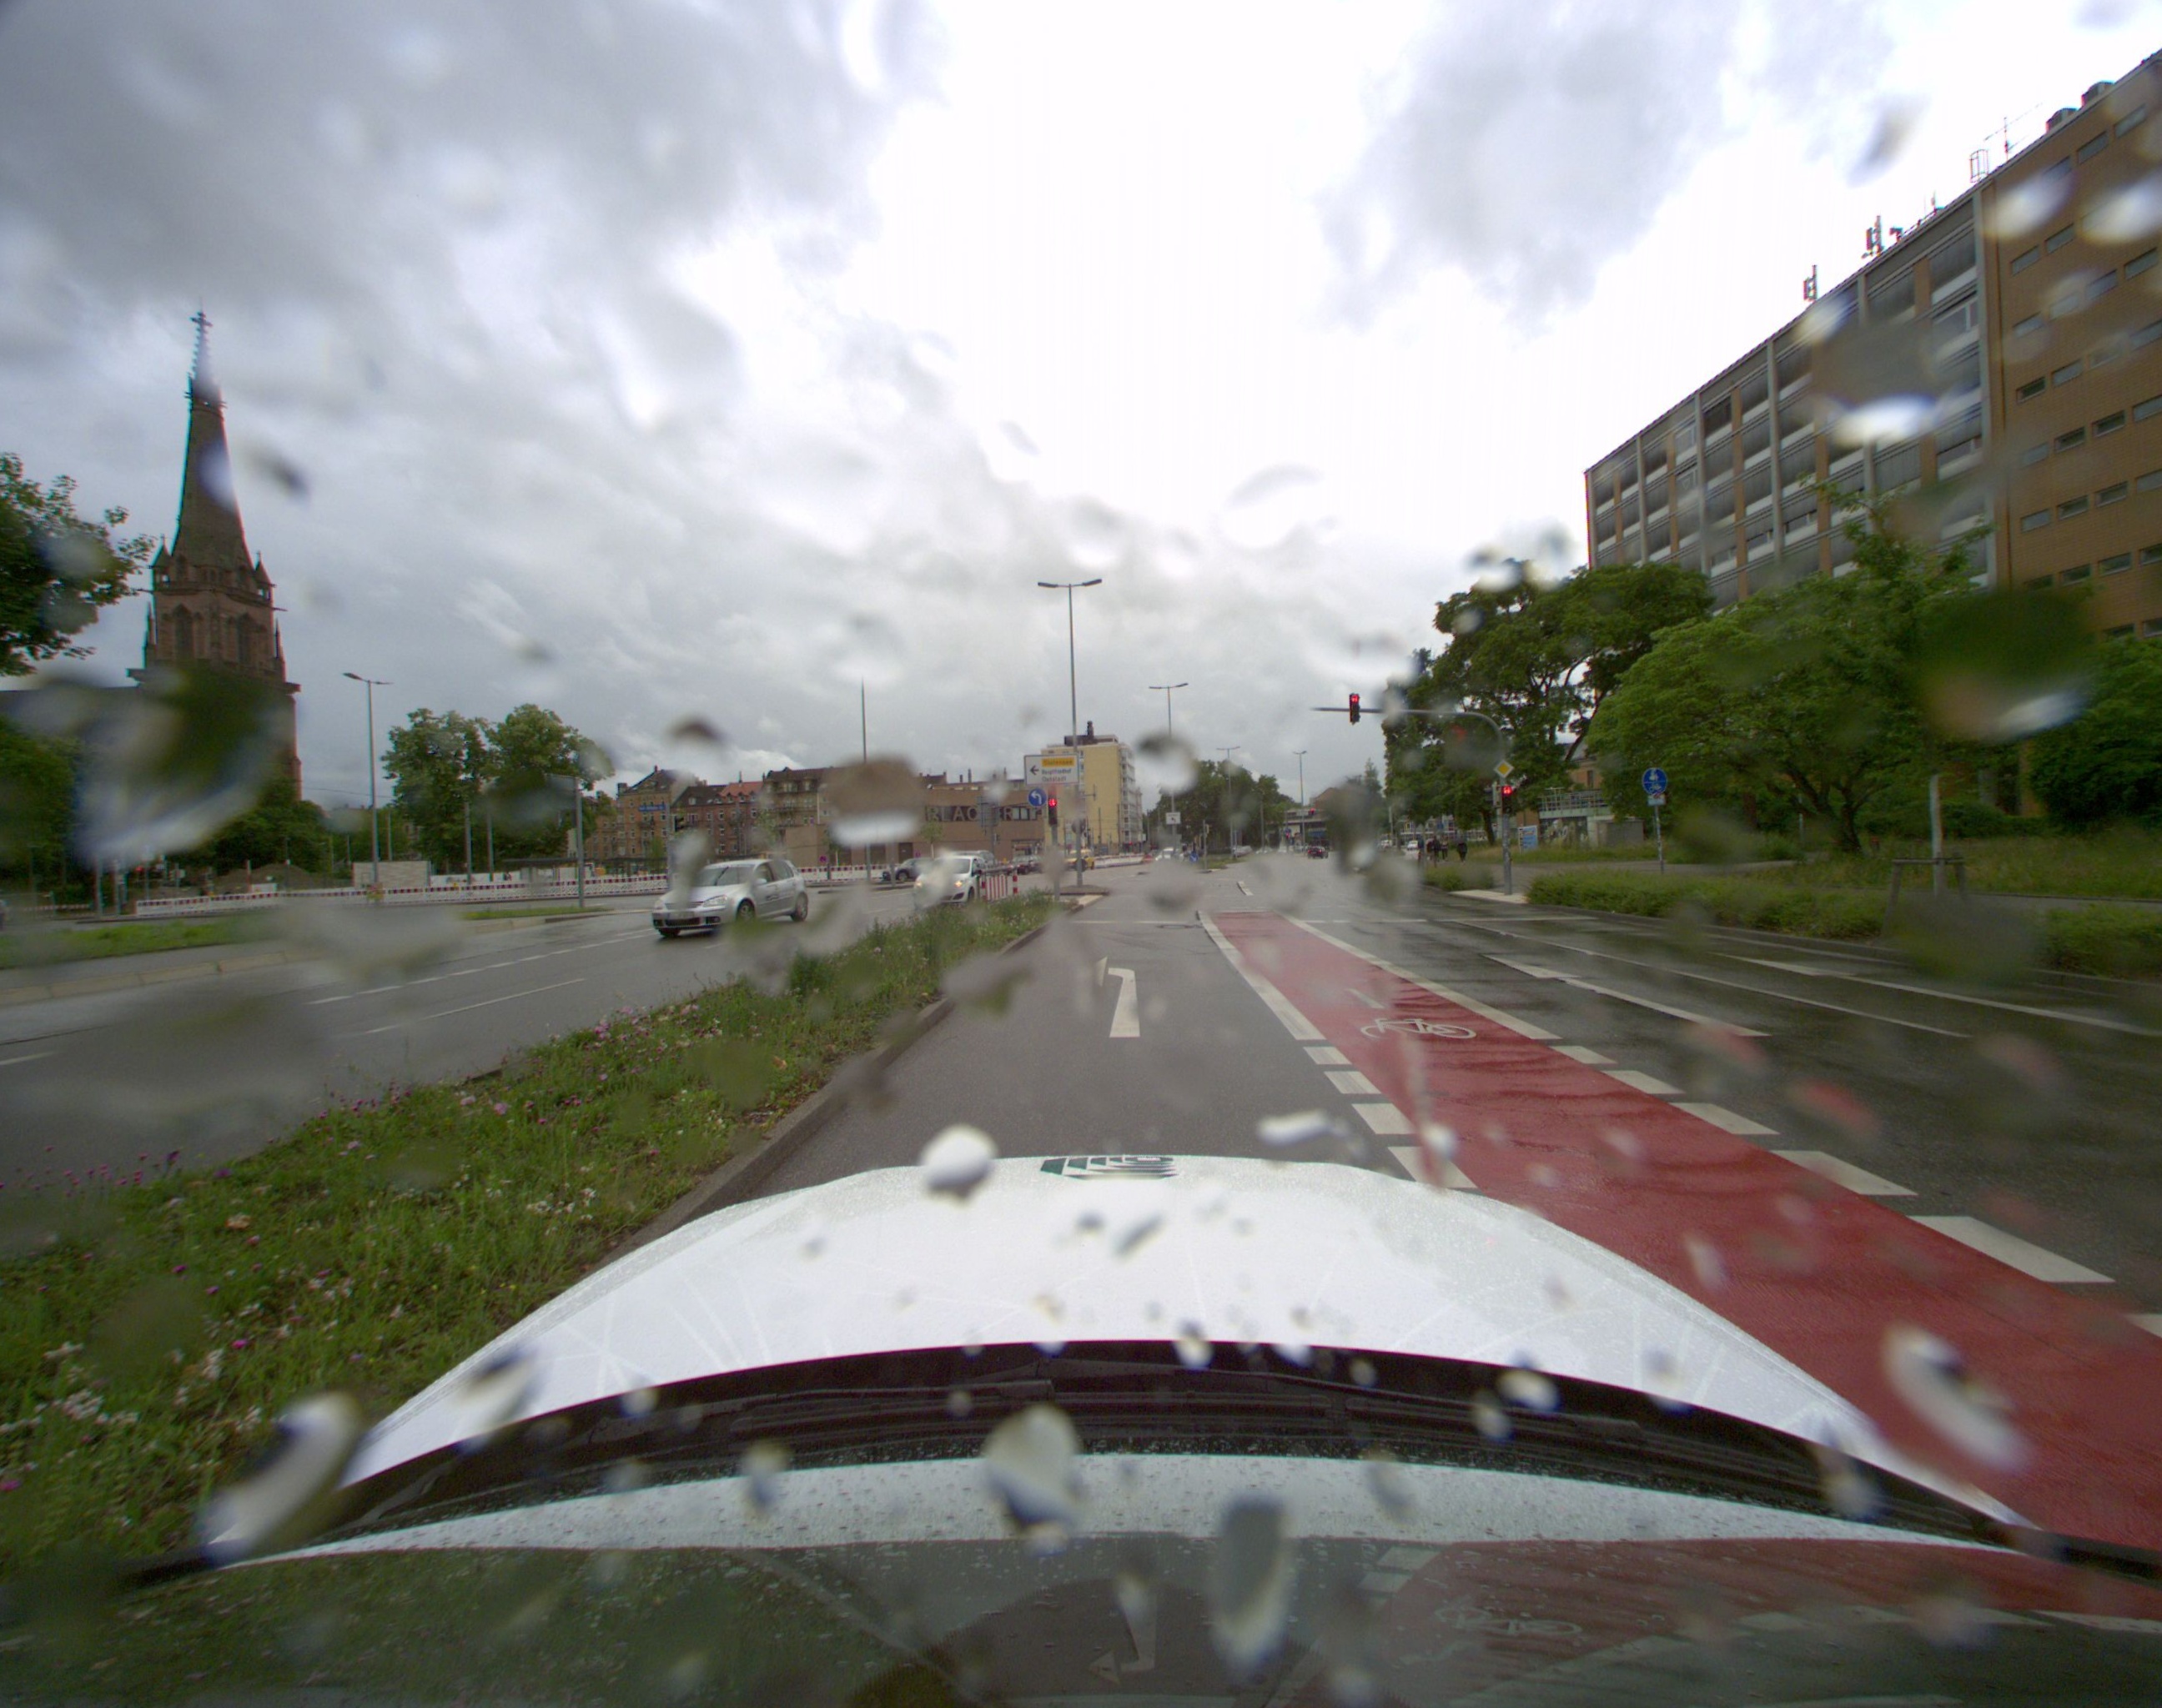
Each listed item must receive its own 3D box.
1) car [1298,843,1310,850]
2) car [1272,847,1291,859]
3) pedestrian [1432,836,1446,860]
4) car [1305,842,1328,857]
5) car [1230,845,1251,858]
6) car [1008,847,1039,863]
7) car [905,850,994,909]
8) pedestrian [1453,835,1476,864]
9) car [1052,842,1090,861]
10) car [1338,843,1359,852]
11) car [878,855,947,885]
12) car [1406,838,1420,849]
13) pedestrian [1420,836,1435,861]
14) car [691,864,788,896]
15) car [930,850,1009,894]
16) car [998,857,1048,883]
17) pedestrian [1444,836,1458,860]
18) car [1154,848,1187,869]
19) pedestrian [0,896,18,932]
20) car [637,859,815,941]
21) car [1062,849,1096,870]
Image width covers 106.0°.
[{"bbox_3d":[53.657,-1.735,195.668,1.773,1.643,4.185,-2,0,29],"label":"car"},{"bbox_3d":[30.211,-0.159,122.569,1.678,1.415,4.210,-3,3,28],"label":"car"},{"bbox_3d":[24.172,-0.403,54.973,0.697,1.588,0.940,-2,0,15],"label":"pedestrian"},{"bbox_3d":[28.381,-0.588,97.992,1.773,1.643,4.184,-2,0,27],"label":"car"},{"bbox_3d":[23.037,-0.387,117.299,1.678,1.690,4.210,-3,2,28],"label":"car"},{"bbox_3d":[-11.086,0.152,156.773,5.320,2.887,2.344,-2,0,8],"label":"car"},{"bbox_3d":[-3.783,0.685,24.057,1.672,1.501,3.872,-3,0,4],"label":"car"},{"bbox_3d":[22.009,-0.259,46.733,1.015,1.588,0.940,-2,0,15],"label":"pedestrian"},{"bbox_3d":[-1.873,-0.514,155.317,6.703,3.380,2.816,-2,0,8],"label":"car"},{"bbox_3d":[54.386,-1.281,165.390,4.418,1.643,1.775,-2,0,-38],"label":"car"},{"bbox_3d":[-10.483,0.988,50.794,3.837,1.706,1.692,-2,0,-36],"label":"car"},{"bbox_3d":[52.778,-1.650,129.420,1.773,1.643,4.184,-2,0,27],"label":"car"},{"bbox_3d":[23.068,-0.357,54.242,0.748,1.588,0.940,-2,0,15],"label":"pedestrian"},{"bbox_3d":[-17.331,1.304,41.407,4.179,1.402,1.617,-2,0,-1],"label":"car"},{"bbox_3d":[-4.728,0.719,35.259,1.981,1.636,4.616,-4,0,10],"label":"car"},{"bbox_3d":[-4.151,1.137,58.876,1.690,1.706,4.485,-2,0,23],"label":"car"},{"bbox_3d":[24.934,-0.436,54.925,0.697,1.588,0.940,-2,0,15],"label":"pedestrian"},{"bbox_3d":[8.209,0.359,74.310,1.811,1.682,5.191,-4,0,19],"label":"car"},{"bbox_3d":[-54.348,3.035,40.960,0.720,1.777,0.775,-2,0,5],"label":"pedestrian"},{"bbox_3d":[-7.336,0.871,17.339,1.672,1.404,4.162,-3,0,4],"label":"car"},{"bbox_3d":[-0.137,0.441,71.450,1.692,1.706,4.172,-2,0,18],"label":"car"}]
